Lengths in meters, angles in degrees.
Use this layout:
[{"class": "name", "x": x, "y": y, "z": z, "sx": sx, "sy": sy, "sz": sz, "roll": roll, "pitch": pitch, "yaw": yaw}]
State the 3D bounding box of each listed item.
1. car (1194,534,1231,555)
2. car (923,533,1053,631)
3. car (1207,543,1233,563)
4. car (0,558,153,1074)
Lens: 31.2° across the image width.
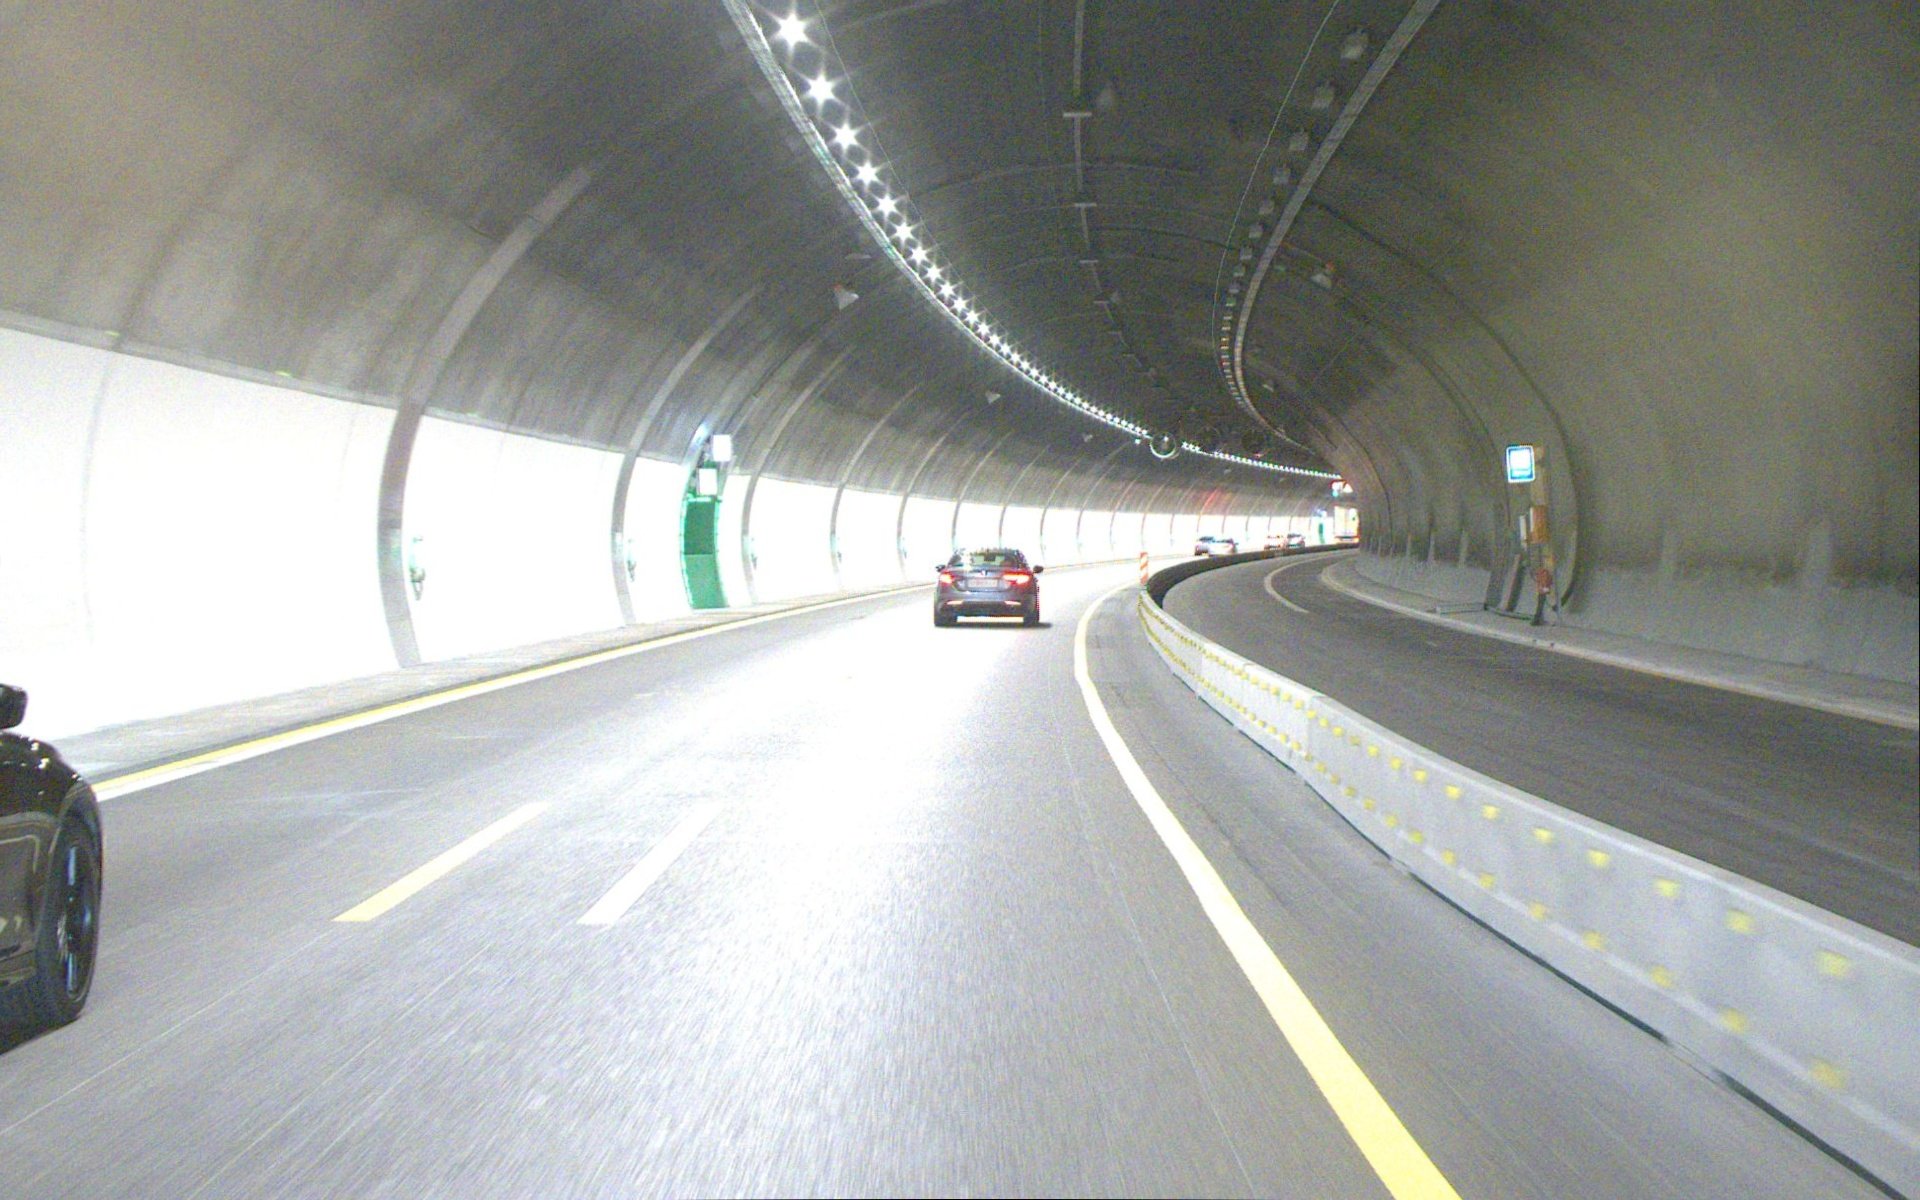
[{"class": "car", "x": 18.383, "y": -4.070, "z": 250.116, "sx": 2.166, "sy": 1.481, "sz": 3.998, "roll": 1, "pitch": 1, "yaw": 11}, {"class": "car", "x": 0.545, "y": -0.356, "z": 63.133, "sx": 2.141, "sy": 1.700, "sz": 4.000, "roll": 1, "pitch": 1, "yaw": 4}, {"class": "car", "x": 17.098, "y": -3.094, "z": 226.179, "sx": 1.595, "sy": 1.328, "sz": 3.750, "roll": 1, "pitch": 1, "yaw": 6}, {"class": "car", "x": -3.584, "y": 0.620, "z": 9.040, "sx": 1.778, "sy": 1.433, "sz": 4.883, "roll": 1, "pitch": 1, "yaw": 0}]
